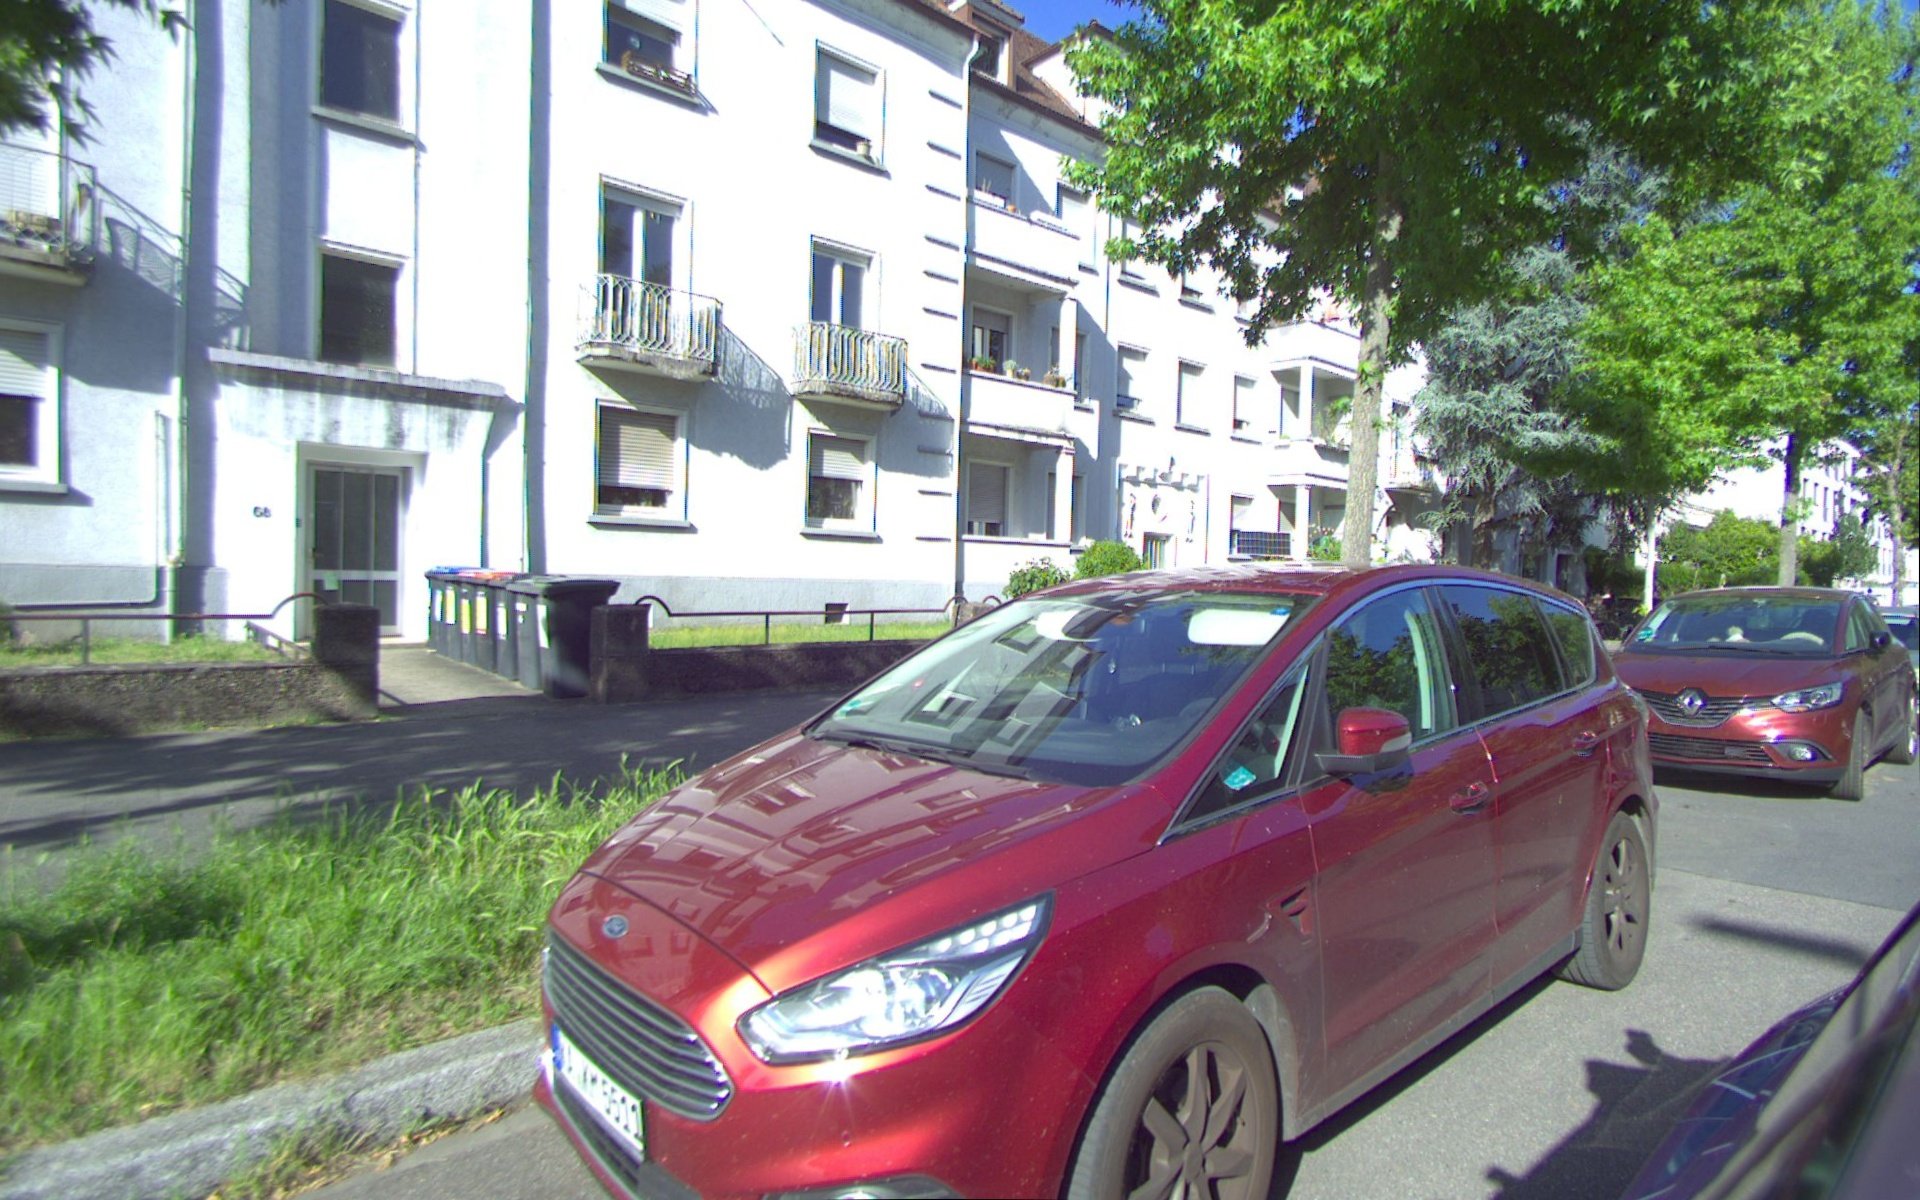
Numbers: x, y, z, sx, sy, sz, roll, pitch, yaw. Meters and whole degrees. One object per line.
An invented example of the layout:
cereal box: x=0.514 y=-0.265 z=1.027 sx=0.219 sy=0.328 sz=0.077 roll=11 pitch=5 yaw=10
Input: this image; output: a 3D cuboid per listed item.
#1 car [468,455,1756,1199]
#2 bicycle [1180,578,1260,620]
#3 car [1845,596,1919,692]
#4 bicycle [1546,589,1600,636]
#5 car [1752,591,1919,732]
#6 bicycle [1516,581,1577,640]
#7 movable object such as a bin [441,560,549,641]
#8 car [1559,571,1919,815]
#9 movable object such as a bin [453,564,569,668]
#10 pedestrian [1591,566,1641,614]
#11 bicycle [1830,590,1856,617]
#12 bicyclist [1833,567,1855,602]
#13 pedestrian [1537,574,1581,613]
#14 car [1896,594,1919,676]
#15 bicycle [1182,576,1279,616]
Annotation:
car: x=1.075 y=0.556 z=3.709 sx=4.884 sy=1.633 sz=1.903 roll=-1 pitch=2 yaw=-40
bicycle: x=6.454 y=-0.048 z=25.244 sx=0.548 sy=0.929 sz=2.037 roll=-1 pitch=3 yaw=-35
car: x=16.114 y=0.673 z=16.698 sx=3.631 sy=1.415 sz=1.767 roll=-1 pitch=0 yaw=-40
bicycle: x=14.494 y=0.277 z=23.915 sx=2.211 sy=1.025 sz=0.432 roll=-1 pitch=-3 yaw=-43
car: x=11.704 y=0.654 z=12.837 sx=4.412 sy=1.424 sz=1.715 roll=-1 pitch=3 yaw=-40
bicycle: x=12.788 y=0.204 z=22.036 sx=2.138 sy=1.212 sz=0.489 roll=-1 pitch=0 yaw=-42
movable object such as a bin: x=-5.271 y=-0.006 z=11.474 sx=0.991 sy=0.873 sz=0.778 roll=-1 pitch=0 yaw=-35
car: x=7.350 y=0.580 z=9.124 sx=4.513 sy=1.586 sz=1.935 roll=-1 pitch=4 yaw=-40
movable object such as a bin: x=-4.781 y=0.152 z=10.778 sx=0.991 sy=1.039 sz=0.778 roll=-1 pitch=0 yaw=-36
pedestrian: x=19.383 y=-0.307 z=29.929 sx=1.021 sy=1.395 sz=0.713 roll=1 pitch=2 yaw=15
bicycle: x=34.521 y=0.130 z=39.561 sx=1.756 sy=0.973 sz=0.459 roll=-1 pitch=4 yaw=-41
bicyclist: x=34.603 y=-0.605 z=39.597 sx=0.706 sy=1.354 sz=0.497 roll=-1 pitch=3 yaw=-41
pedestrian: x=18.295 y=-0.207 z=30.898 sx=1.033 sy=1.157 sz=0.705 roll=0 pitch=1 yaw=44
car: x=19.605 y=0.643 z=19.789 sx=3.806 sy=1.482 sz=1.607 roll=-1 pitch=0 yaw=-43
bicycle: x=5.895 y=-0.073 z=22.158 sx=0.615 sy=0.779 sz=2.064 roll=-1 pitch=-1 yaw=-40
